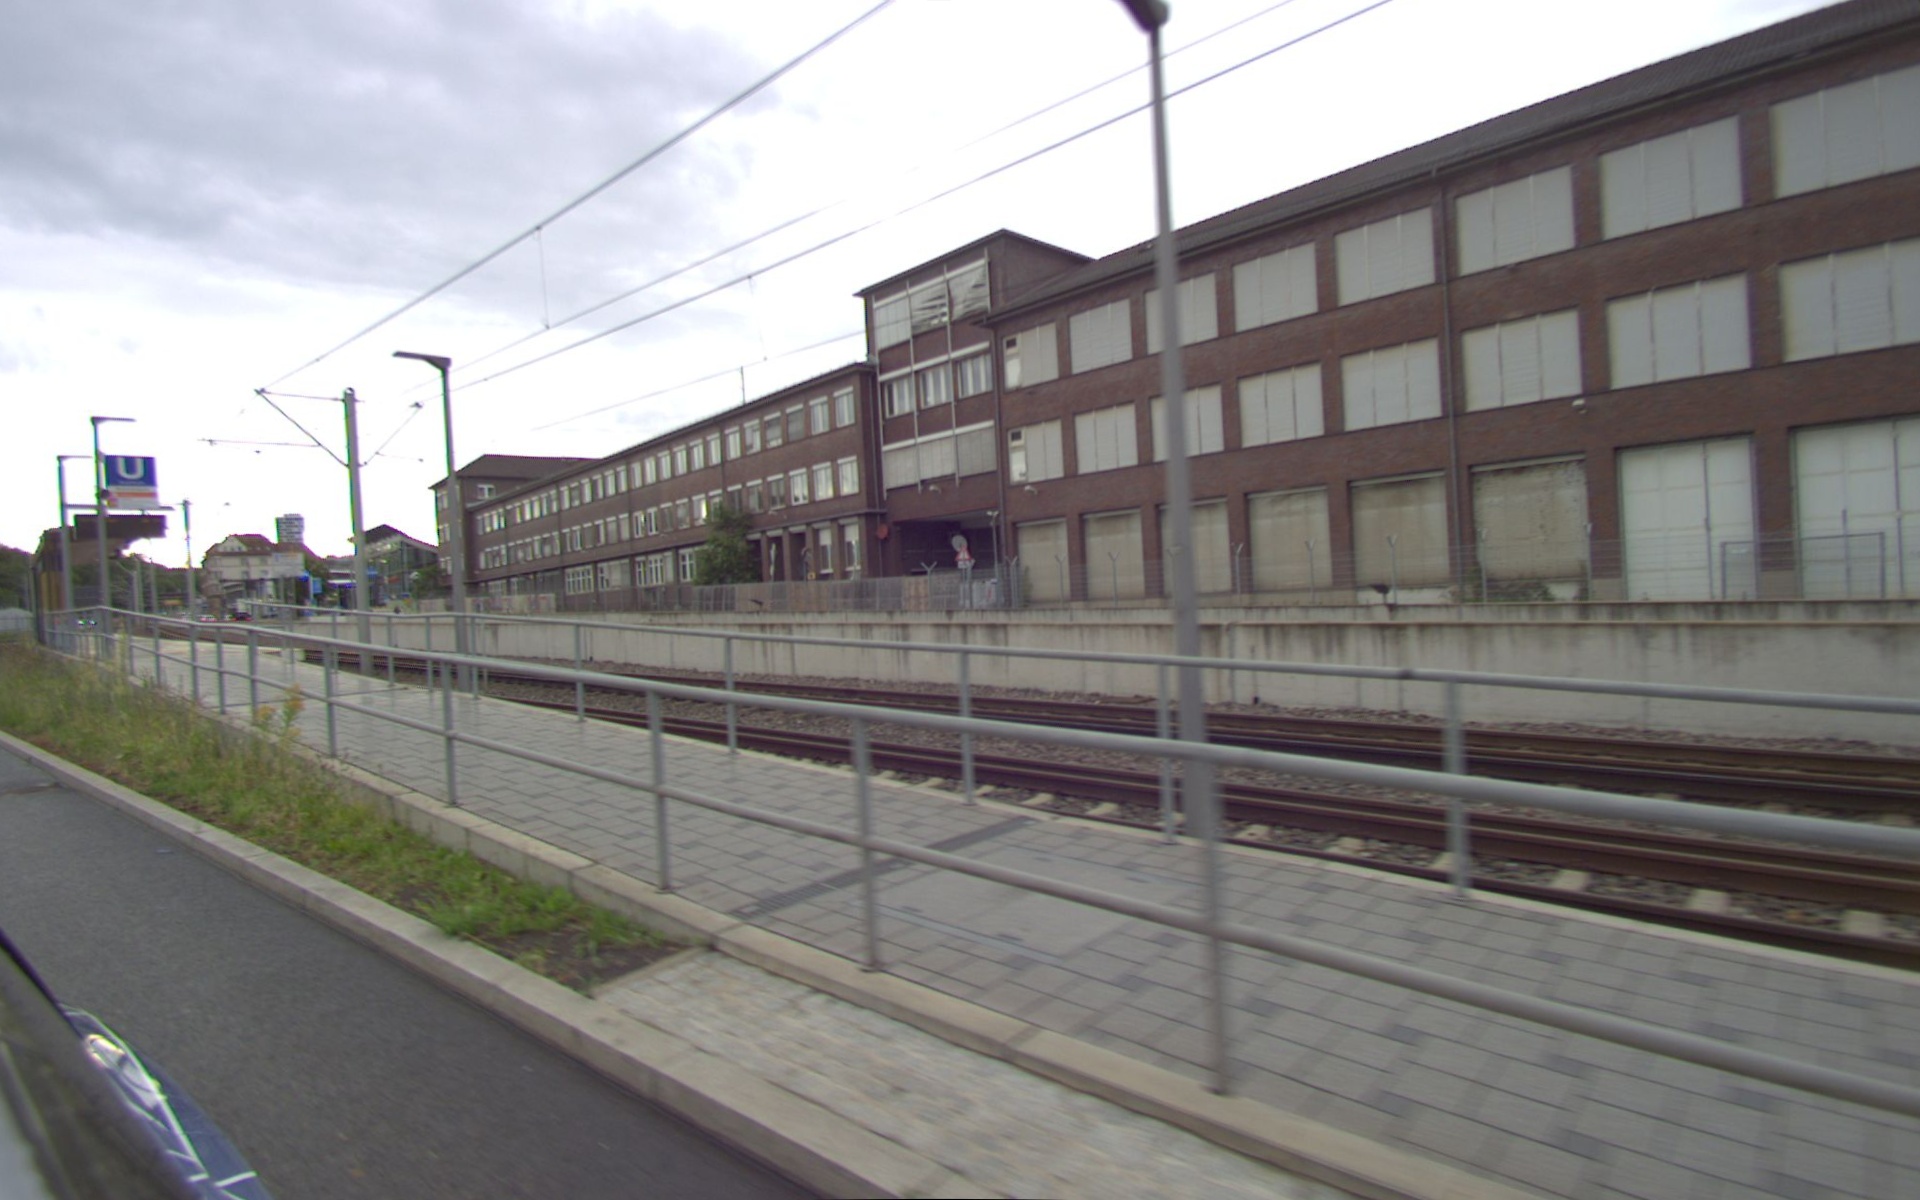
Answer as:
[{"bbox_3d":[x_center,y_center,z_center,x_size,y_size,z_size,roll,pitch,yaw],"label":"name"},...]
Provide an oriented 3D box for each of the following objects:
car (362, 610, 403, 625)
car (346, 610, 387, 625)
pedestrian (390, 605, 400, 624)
[{"bbox_3d":[-77.405,2.323,135.683,4.509,1.773,2.003,-2,0,-41],"label":"car"},{"bbox_3d":[-80.607,2.356,137.456,4.509,1.773,2.003,-2,0,-41],"label":"car"},{"bbox_3d":[-60.417,1.588,108.293,0.722,2.029,0.578,-1,0,13],"label":"pedestrian"}]
